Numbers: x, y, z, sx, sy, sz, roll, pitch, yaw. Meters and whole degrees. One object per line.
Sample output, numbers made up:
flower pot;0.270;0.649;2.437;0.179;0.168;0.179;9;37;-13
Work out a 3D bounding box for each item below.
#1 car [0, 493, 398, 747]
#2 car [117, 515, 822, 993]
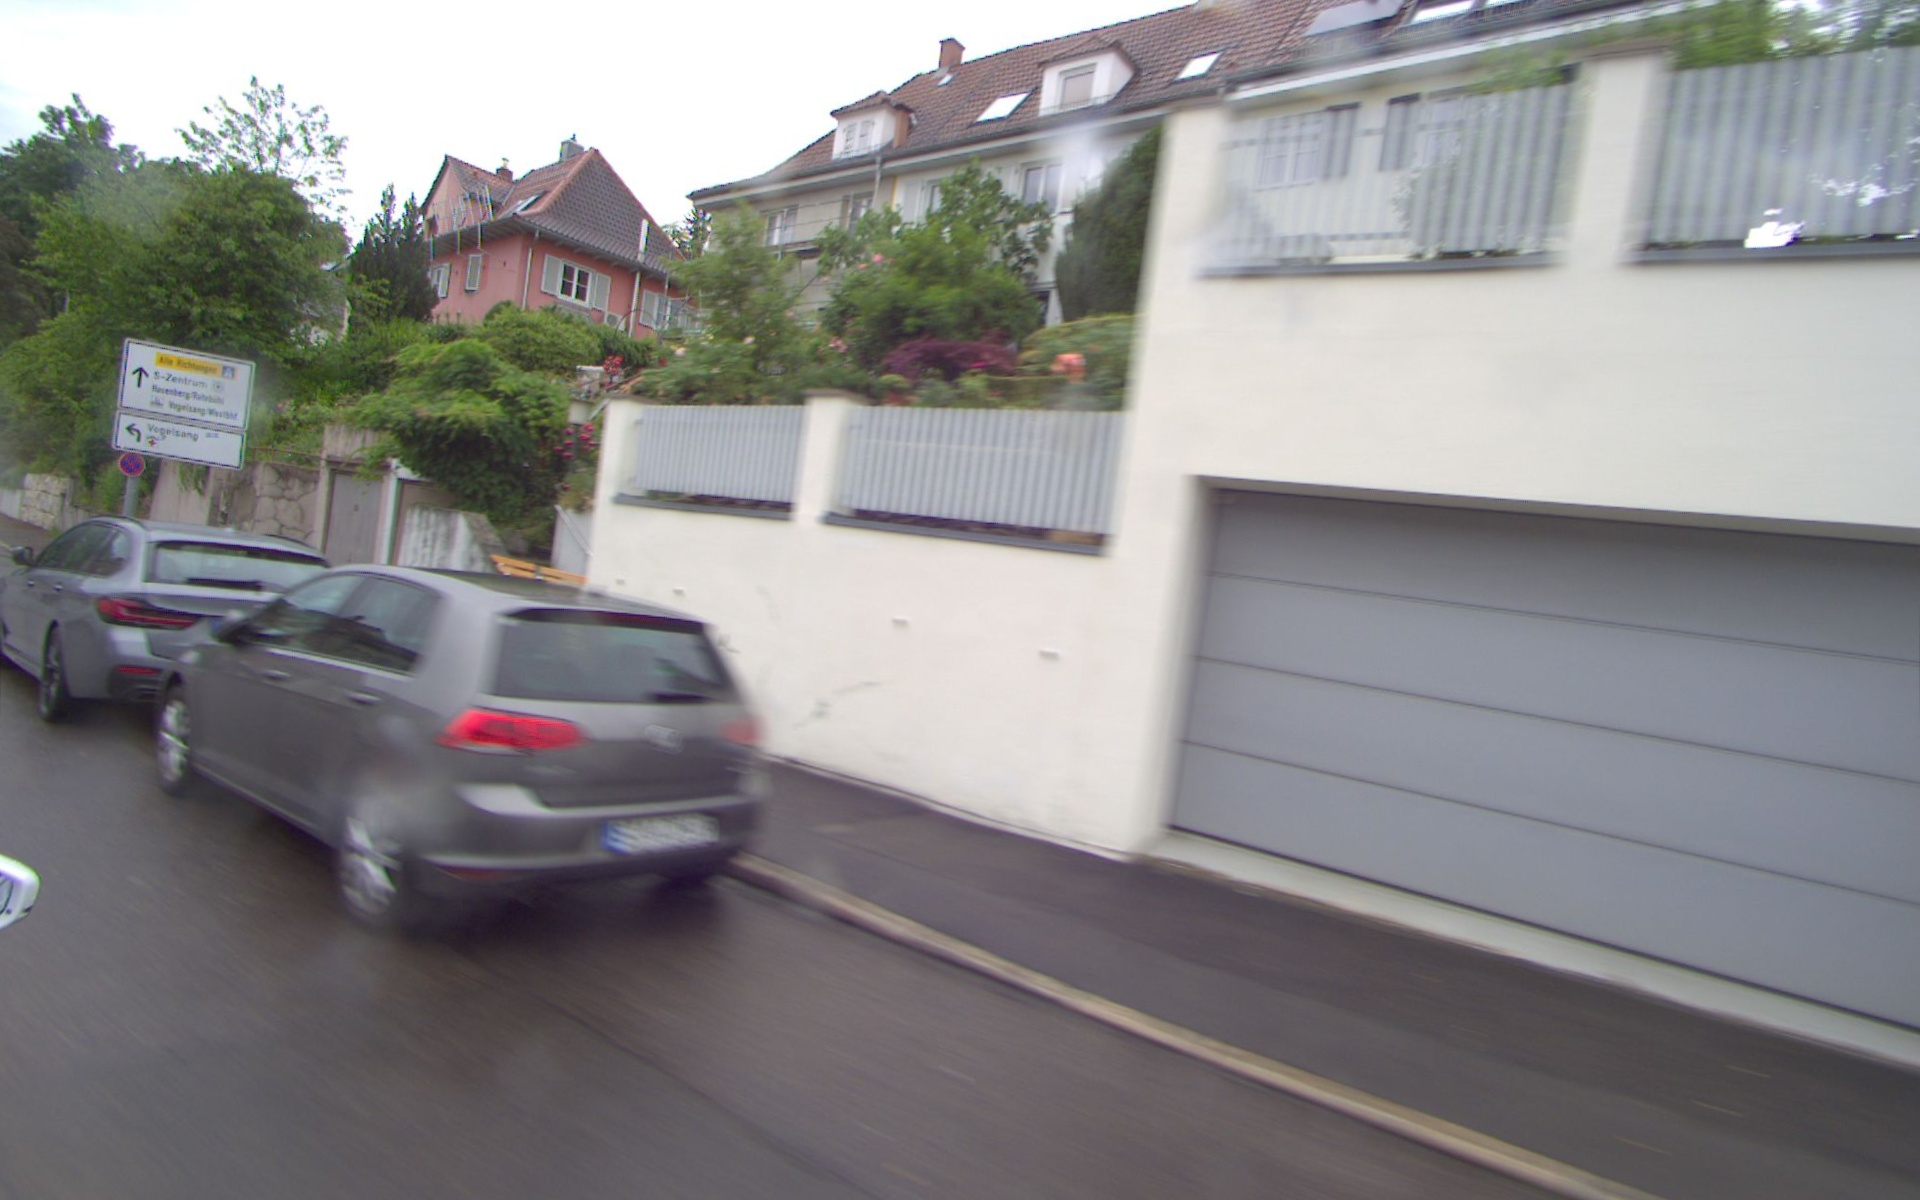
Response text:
car;-6.650;0.044;8.393;4.638;1.514;1.788;6;-1;40
car;-2.842;0.502;5.384;4.110;1.454;1.641;8;0;38
